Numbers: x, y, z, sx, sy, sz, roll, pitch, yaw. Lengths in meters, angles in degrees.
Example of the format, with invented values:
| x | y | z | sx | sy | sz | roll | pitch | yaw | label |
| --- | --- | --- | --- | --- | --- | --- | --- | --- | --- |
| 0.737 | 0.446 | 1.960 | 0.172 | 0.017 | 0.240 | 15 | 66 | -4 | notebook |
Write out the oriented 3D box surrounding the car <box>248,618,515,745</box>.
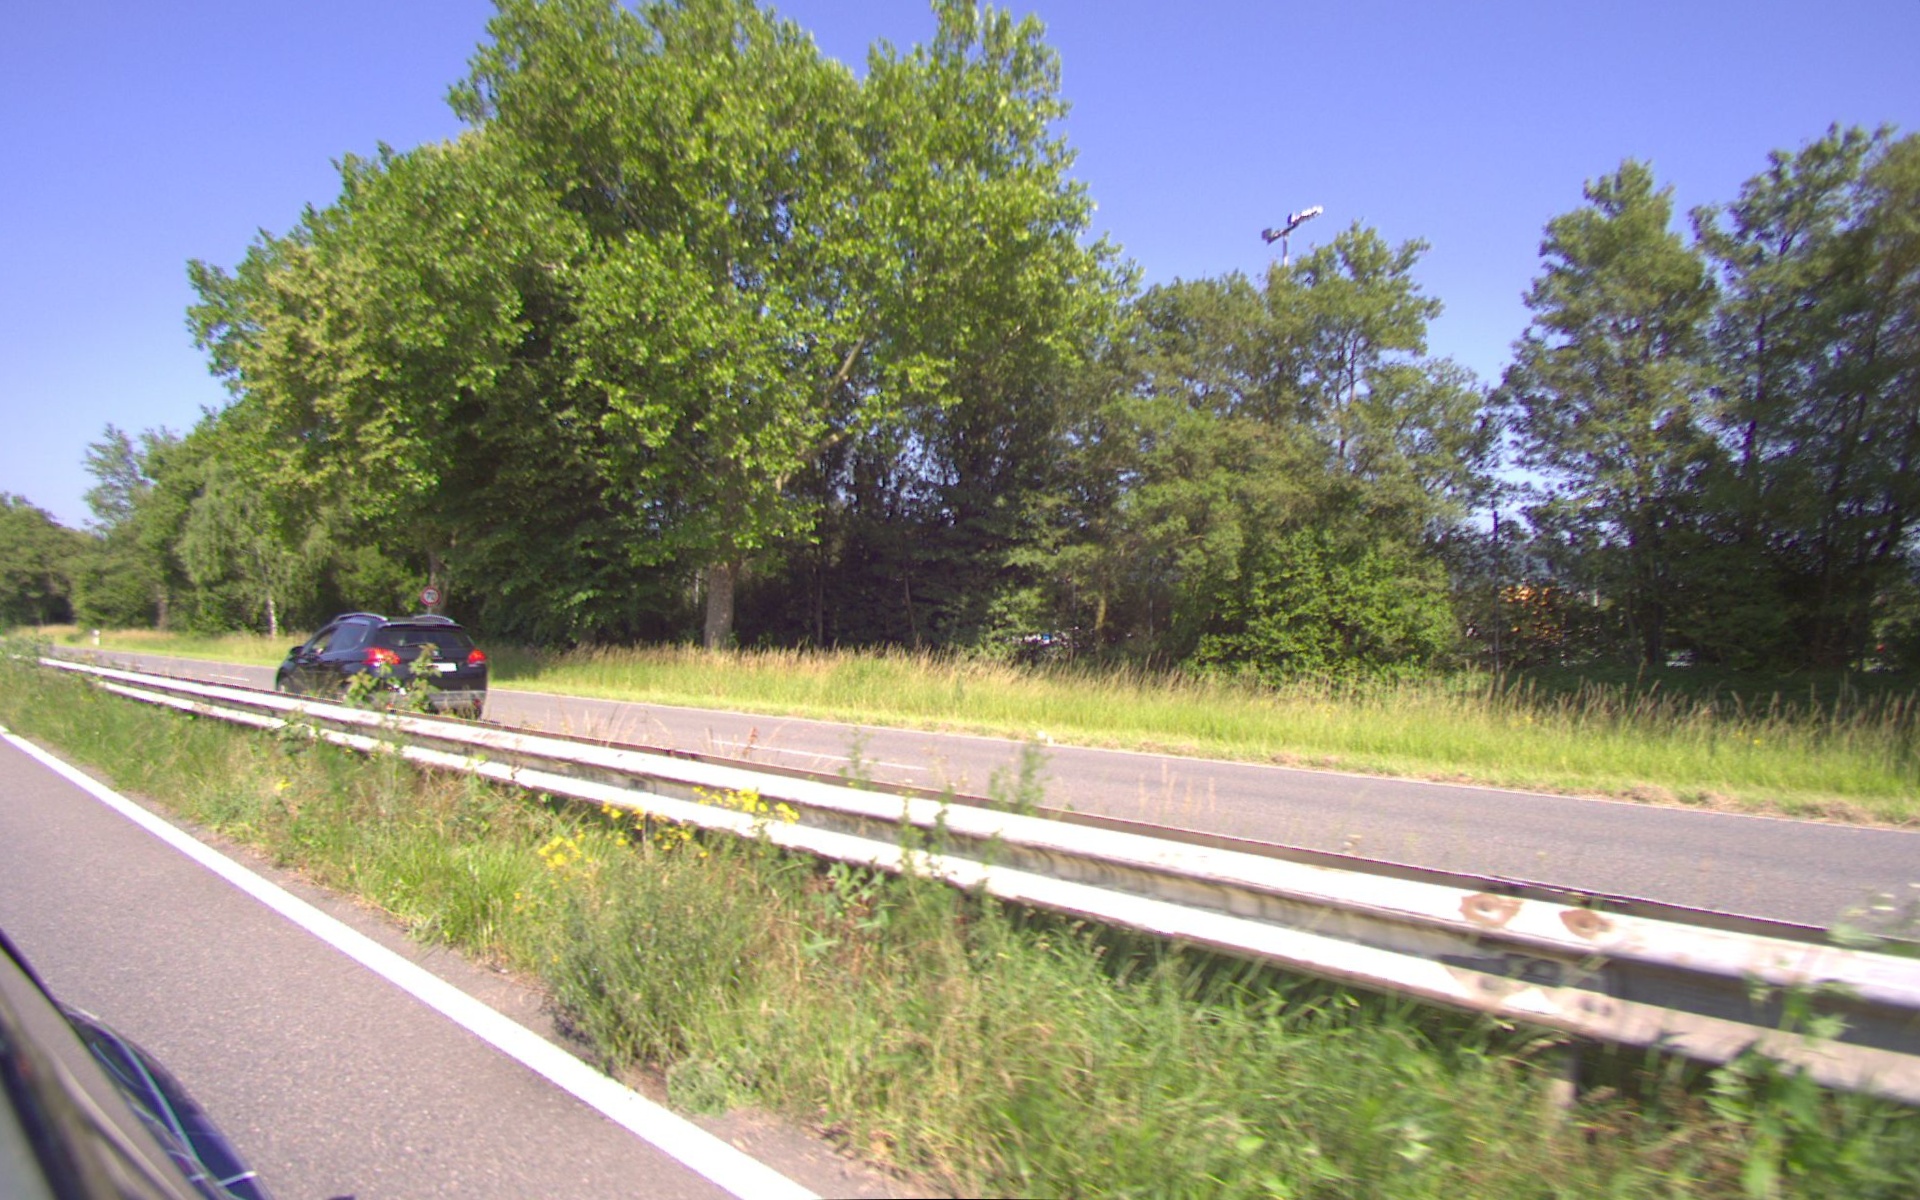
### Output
| x | y | z | sx | sy | sz | roll | pitch | yaw | label |
| --- | --- | --- | --- | --- | --- | --- | --- | --- | --- |
| -8.318 | 1.063 | 14.429 | 4.154 | 1.542 | 1.762 | -1 | -3 | 37 | car |
